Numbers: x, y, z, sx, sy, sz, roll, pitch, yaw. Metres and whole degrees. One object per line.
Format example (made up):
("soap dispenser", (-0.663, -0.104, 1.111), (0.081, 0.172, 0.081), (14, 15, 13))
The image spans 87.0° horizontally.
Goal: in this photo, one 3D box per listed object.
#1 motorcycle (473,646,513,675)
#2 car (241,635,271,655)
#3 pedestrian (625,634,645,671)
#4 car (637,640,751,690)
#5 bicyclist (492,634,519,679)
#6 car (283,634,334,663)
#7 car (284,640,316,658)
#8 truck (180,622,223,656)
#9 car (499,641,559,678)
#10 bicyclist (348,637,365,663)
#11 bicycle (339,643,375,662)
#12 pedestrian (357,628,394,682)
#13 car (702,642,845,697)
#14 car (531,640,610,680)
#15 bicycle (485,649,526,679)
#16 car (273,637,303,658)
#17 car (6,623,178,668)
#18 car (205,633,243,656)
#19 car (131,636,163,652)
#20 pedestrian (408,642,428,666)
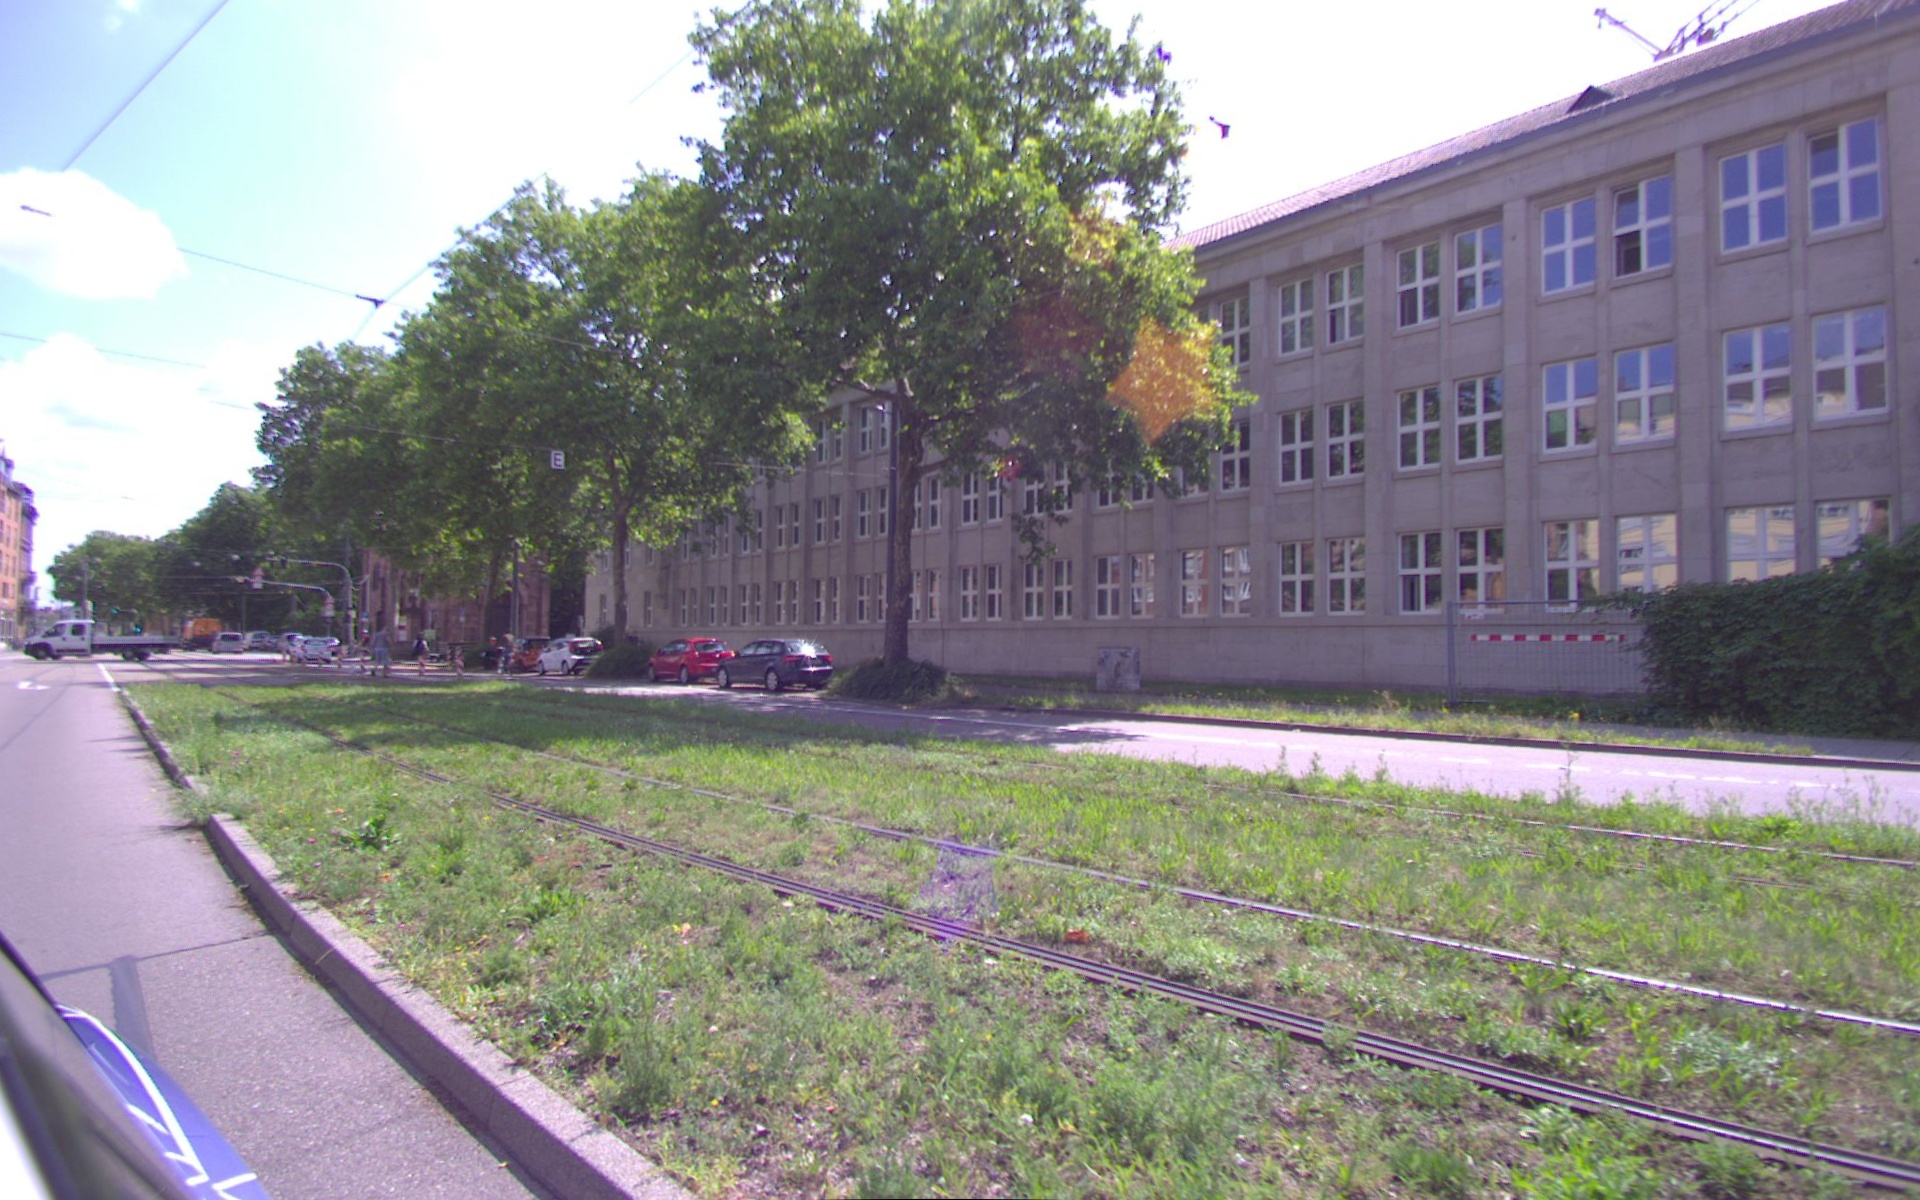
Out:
("motorcycle", (-21.799, 2.828, 47.287), (0.538, 1.185, 2.101), (-4, -1, 10))
("car", (-73.563, 4.679, 105.760), (1.965, 2.019, 4.088), (2, -2, -44))
("pedestrian", (-14.420, 2.314, 44.899), (0.547, 1.603, 0.796), (1, -2, -42))
("car", (-8.524, 2.036, 32.220), (1.902, 1.431, 4.055), (1, -2, -41))
("bicyclist", (-17.889, 2.208, 39.844), (0.752, 1.717, 0.784), (1, -2, -41))
("car", (-36.991, 2.763, 57.395), (1.739, 1.491, 3.792), (6, -6, -42))
("car", (-56.270, 4.164, 86.279), (1.735, 1.508, 4.006), (1, -2, -41))
("truck", (-73.209, 3.745, 97.621), (2.606, 3.130, 7.232), (5, -5, -41))
("car", (-18.434, 2.523, 43.260), (1.469, 1.465, 2.885), (1, -3, -43))
("bicyclist", (-42.716, 3.534, 71.677), (0.662, 1.798, 0.873), (-2, -2, 40))
("bicycle", (-42.714, 3.711, 71.674), (0.671, 1.300, 2.060), (-2, -1, 41))
("pedestrian", (-18.889, 1.759, 32.725), (0.695, 1.717, 0.781), (0, -2, 11))
("car", (-5.269, 1.892, 28.247), (1.903, 1.379, 4.321), (1, -3, -43))
("car", (-15.351, 2.334, 39.847), (1.726, 1.465, 3.494), (1, -3, -43))
("bicycle", (-17.927, 2.510, 39.858), (0.781, 1.118, 2.279), (1, -2, -43))
("car", (-60.461, 4.240, 91.029), (1.735, 1.850, 4.006), (1, -2, -41))
("car", (-48.205, 2.546, 56.437), (6.860, 2.392, 2.270), (1, -3, -20))
("car", (-60.780, 3.689, 83.566), (1.897, 1.759, 4.542), (6, -5, -42))
("car", (-114.774, 6.147, 142.886), (3.969, 2.201, 1.751), (-1, -2, 20))
("pedestrian", (-30.129, 3.004, 56.265), (0.746, 1.221, 0.915), (-4, 1, -40))
